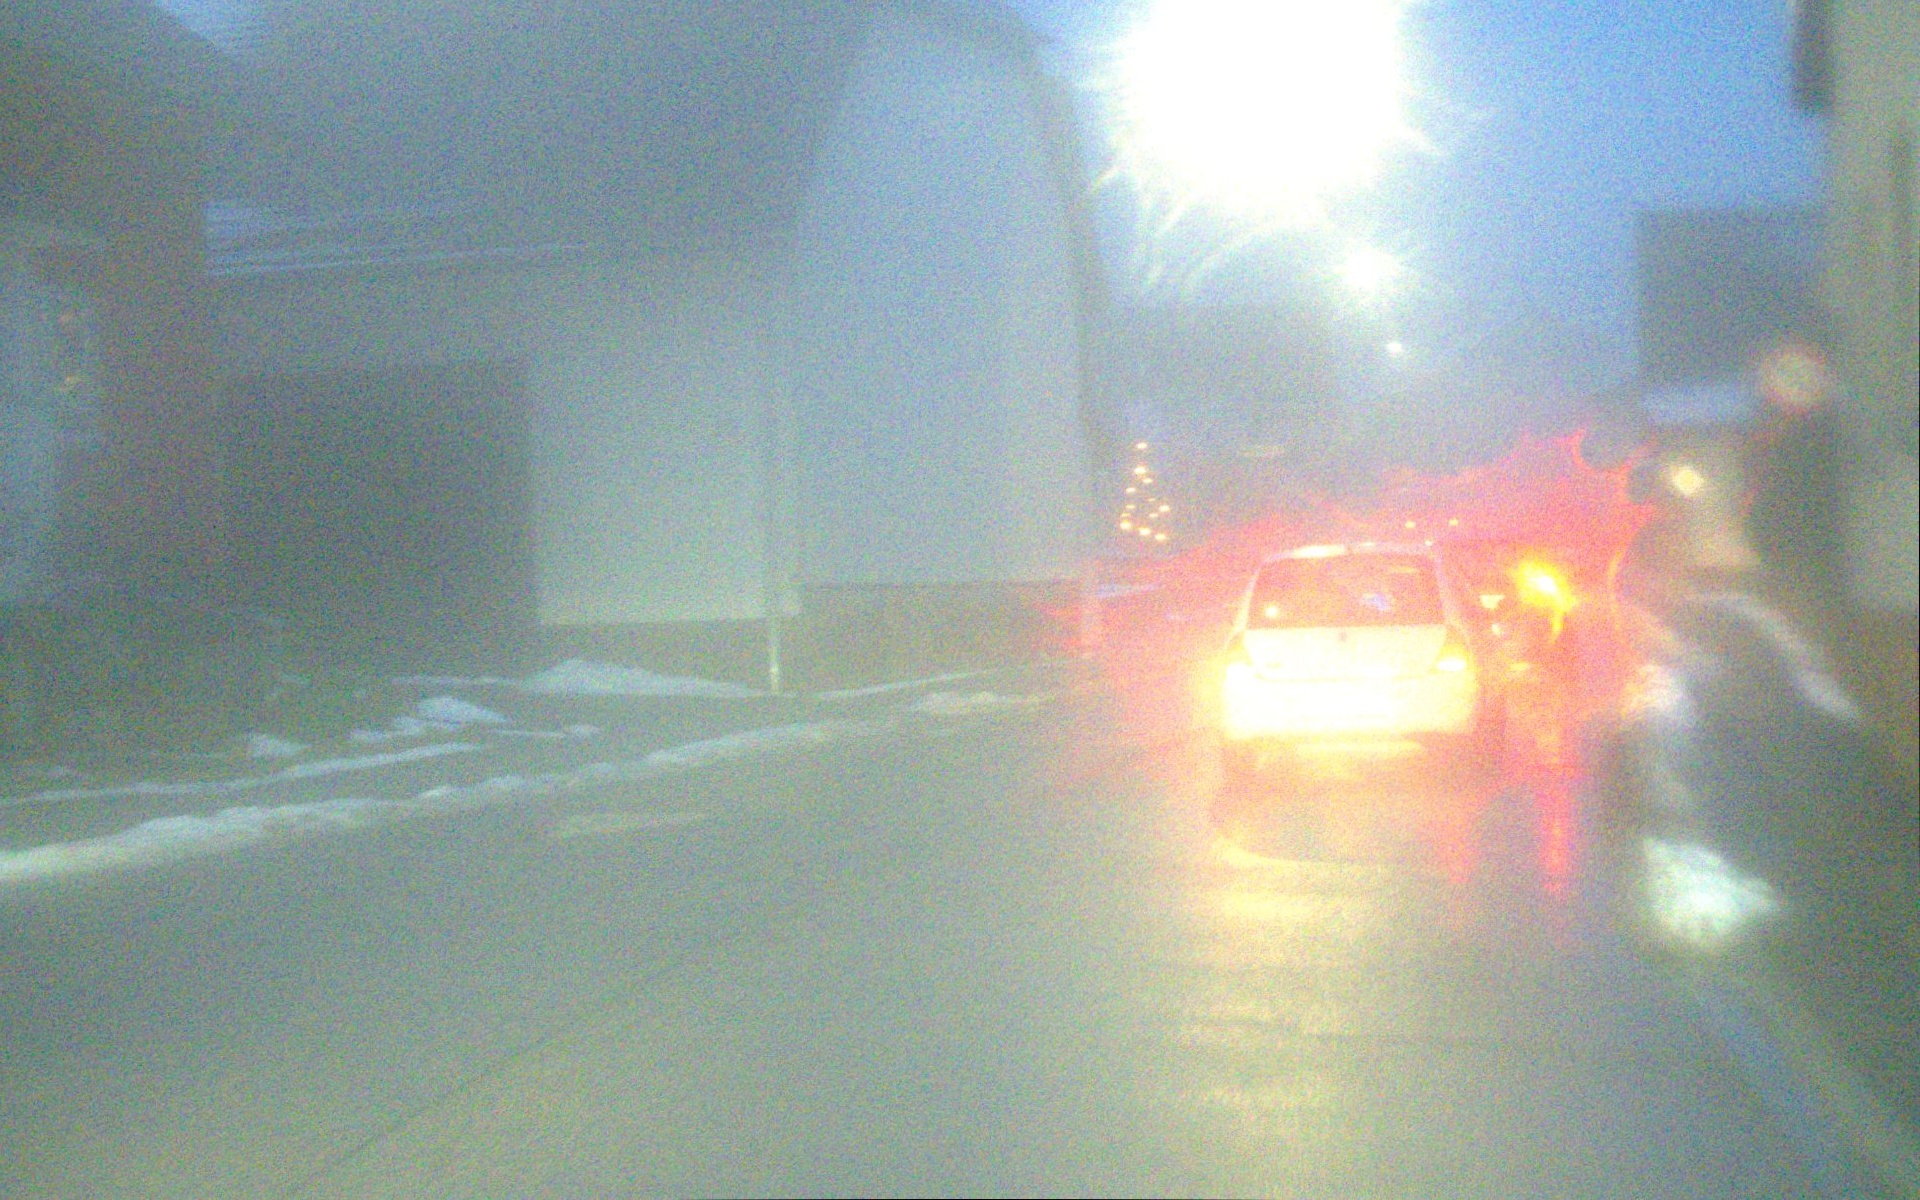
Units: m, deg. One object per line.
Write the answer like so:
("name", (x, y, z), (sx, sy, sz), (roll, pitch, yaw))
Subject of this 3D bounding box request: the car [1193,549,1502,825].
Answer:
("car", (2.530, 0.500, 21.780), (1.646, 1.590, 3.698), (0, 0, 11))

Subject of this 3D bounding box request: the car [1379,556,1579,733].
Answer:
("car", (5.011, 0.395, 32.913), (1.646, 1.590, 3.697), (0, 0, 12))
